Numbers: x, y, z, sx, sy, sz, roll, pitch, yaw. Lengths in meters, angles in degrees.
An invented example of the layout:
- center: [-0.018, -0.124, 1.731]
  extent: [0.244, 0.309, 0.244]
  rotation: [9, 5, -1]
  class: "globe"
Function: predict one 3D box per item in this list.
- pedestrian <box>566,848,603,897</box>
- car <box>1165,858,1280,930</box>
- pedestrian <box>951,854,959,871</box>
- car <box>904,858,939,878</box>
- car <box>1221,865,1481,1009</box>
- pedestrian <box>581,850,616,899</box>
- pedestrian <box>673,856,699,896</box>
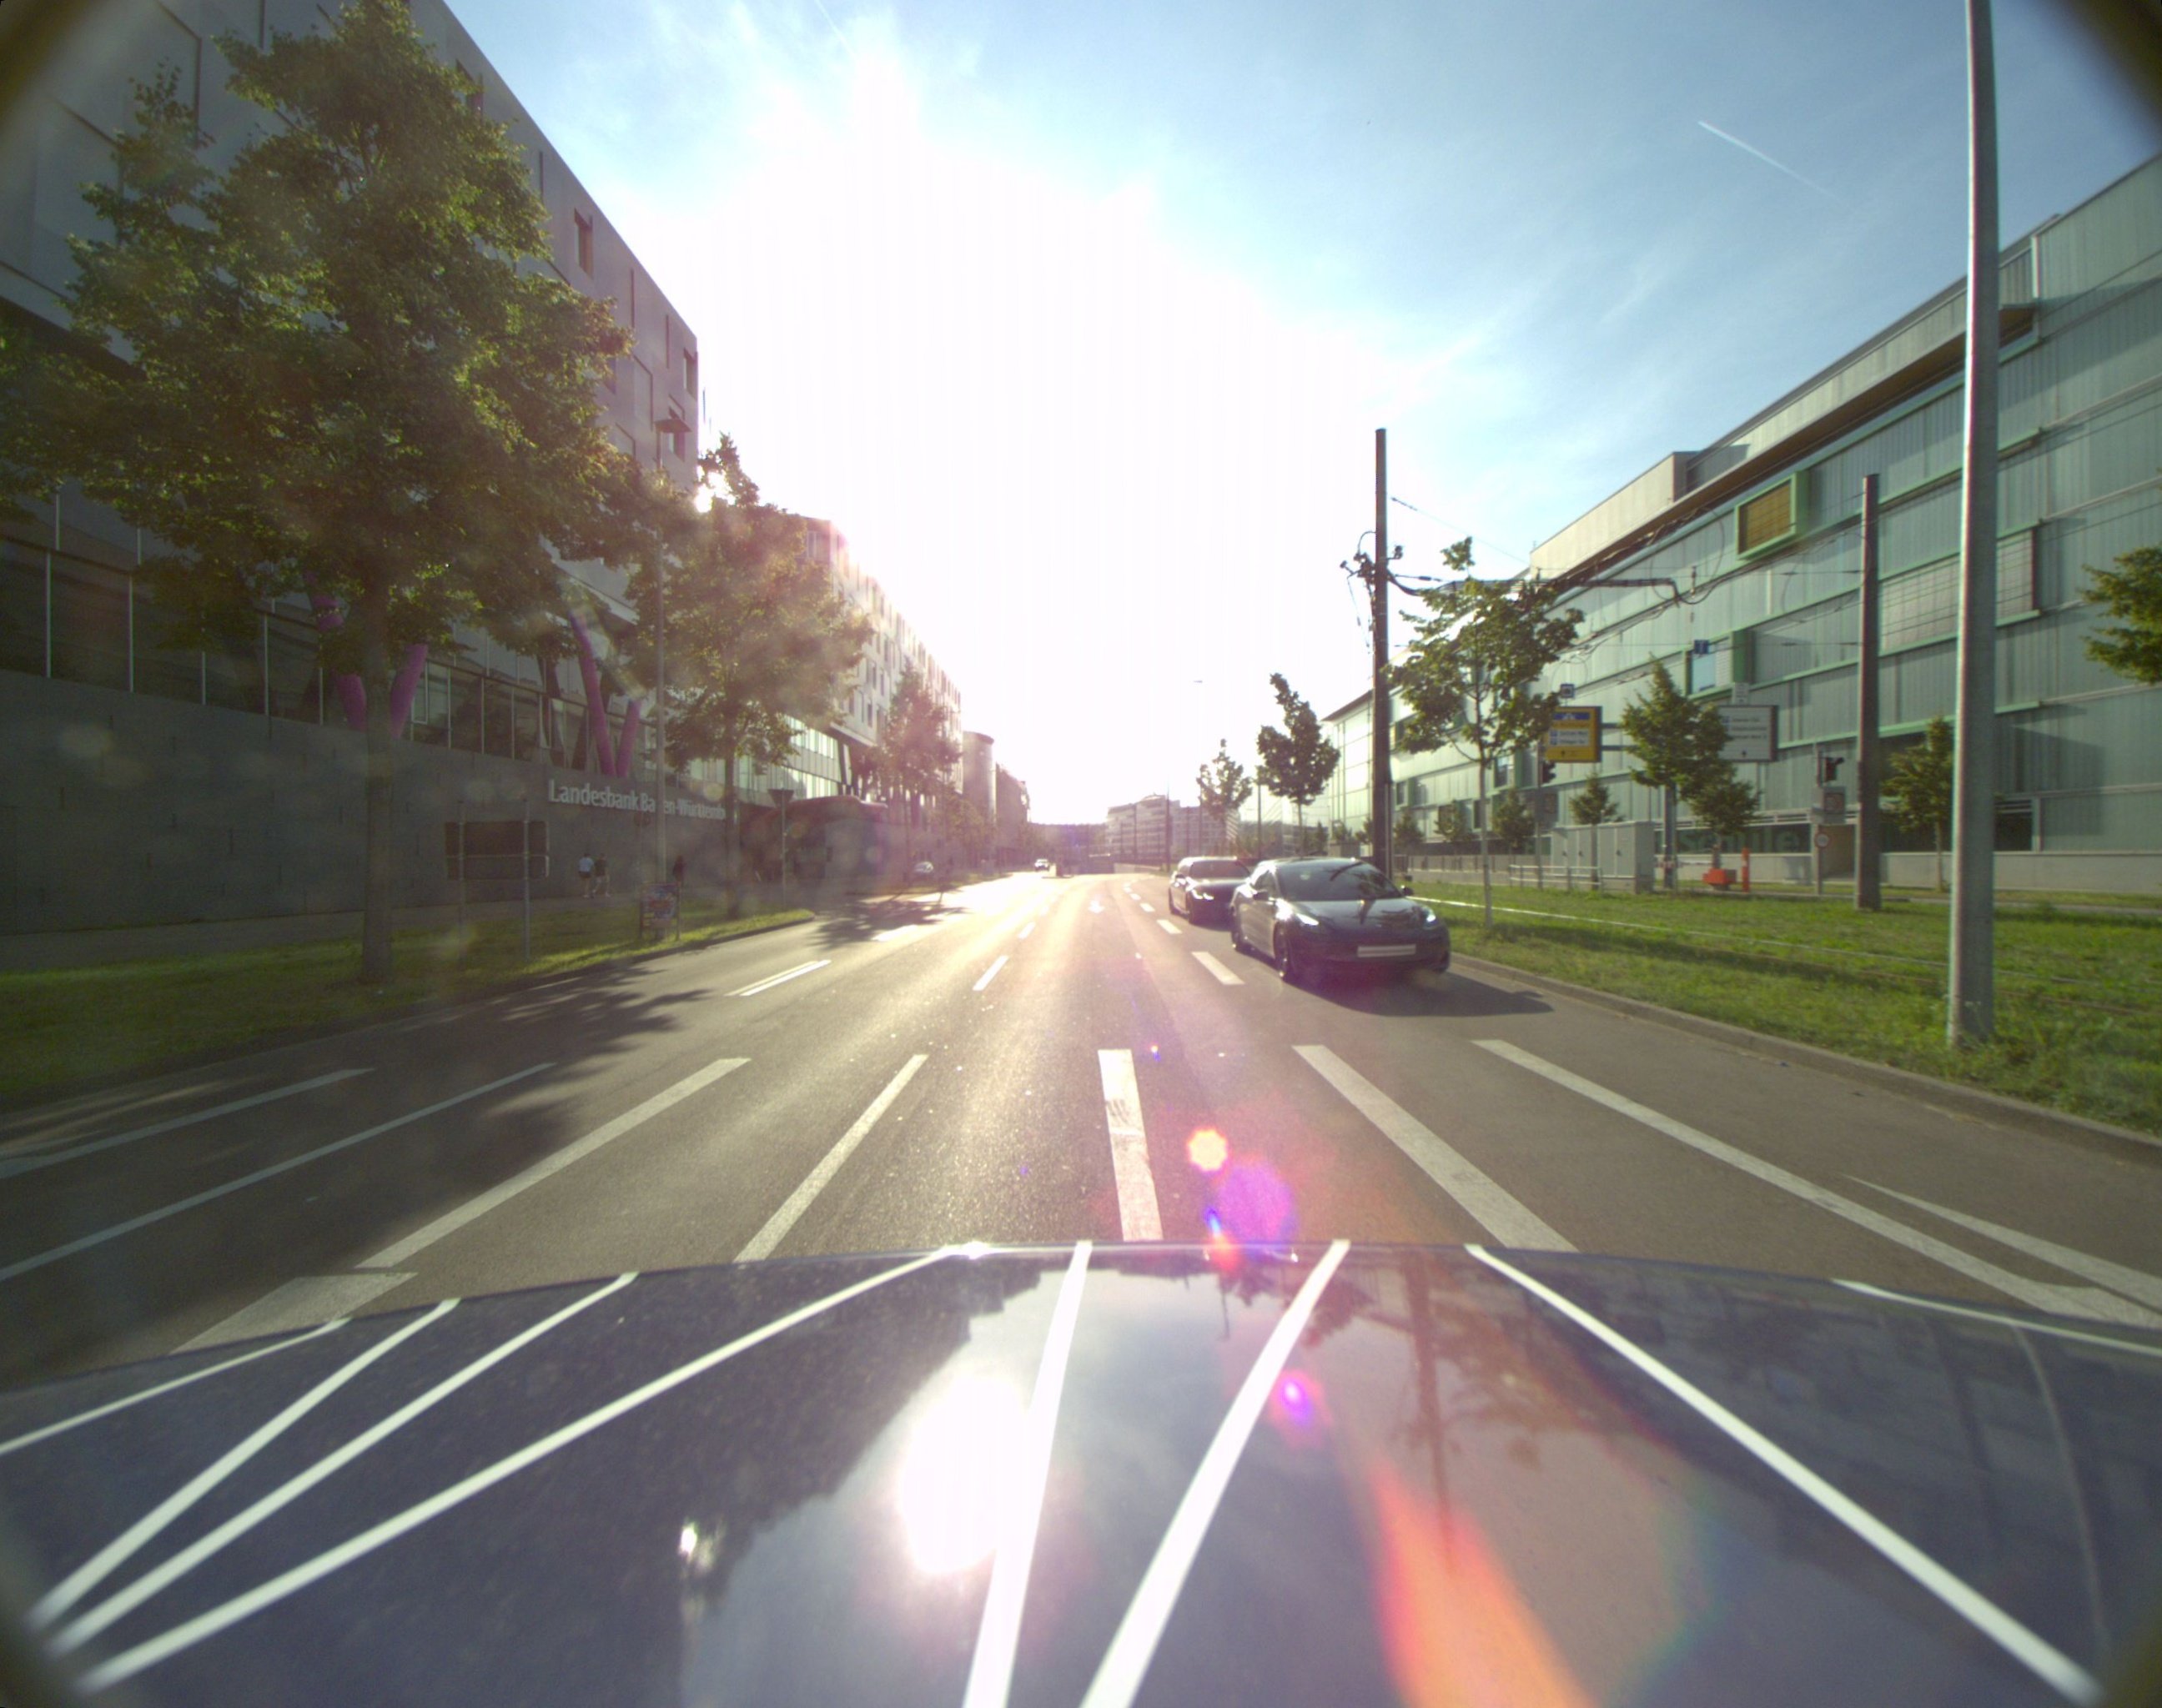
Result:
- center: [-18.694, 0.688, 28.621]
  extent: [0.770, 1.814, 0.853]
  rotation: [1, 0, 0]
  class: "pedestrian"
- center: [3.178, 0.843, 17.987]
  extent: [1.894, 1.418, 4.473]
  rotation: [-2, 0, 1]
  class: "car"
- center: [-13.597, 0.917, 81.987]
  extent: [0.725, 1.776, 0.771]
  rotation: [0, 1, 0]
  class: "pedestrian"
- center: [-11.597, 0.993, 55.589]
  extent: [1.696, 1.382, 4.199]
  rotation: [0, -1, -1]
  class: "car"
- center: [3.185, 0.887, 10.000]
  extent: [1.894, 1.377, 4.335]
  rotation: [-2, 0, 1]
  class: "car"
- center: [-18.093, 0.770, 28.523]
  extent: [0.756, 1.783, 0.844]
  rotation: [1, 0, 0]
  class: "pedestrian"
- center: [-16.537, 0.908, 31.824]
  extent: [0.695, 1.629, 0.736]
  rotation: [0, 2, 0]
  class: "pedestrian"
